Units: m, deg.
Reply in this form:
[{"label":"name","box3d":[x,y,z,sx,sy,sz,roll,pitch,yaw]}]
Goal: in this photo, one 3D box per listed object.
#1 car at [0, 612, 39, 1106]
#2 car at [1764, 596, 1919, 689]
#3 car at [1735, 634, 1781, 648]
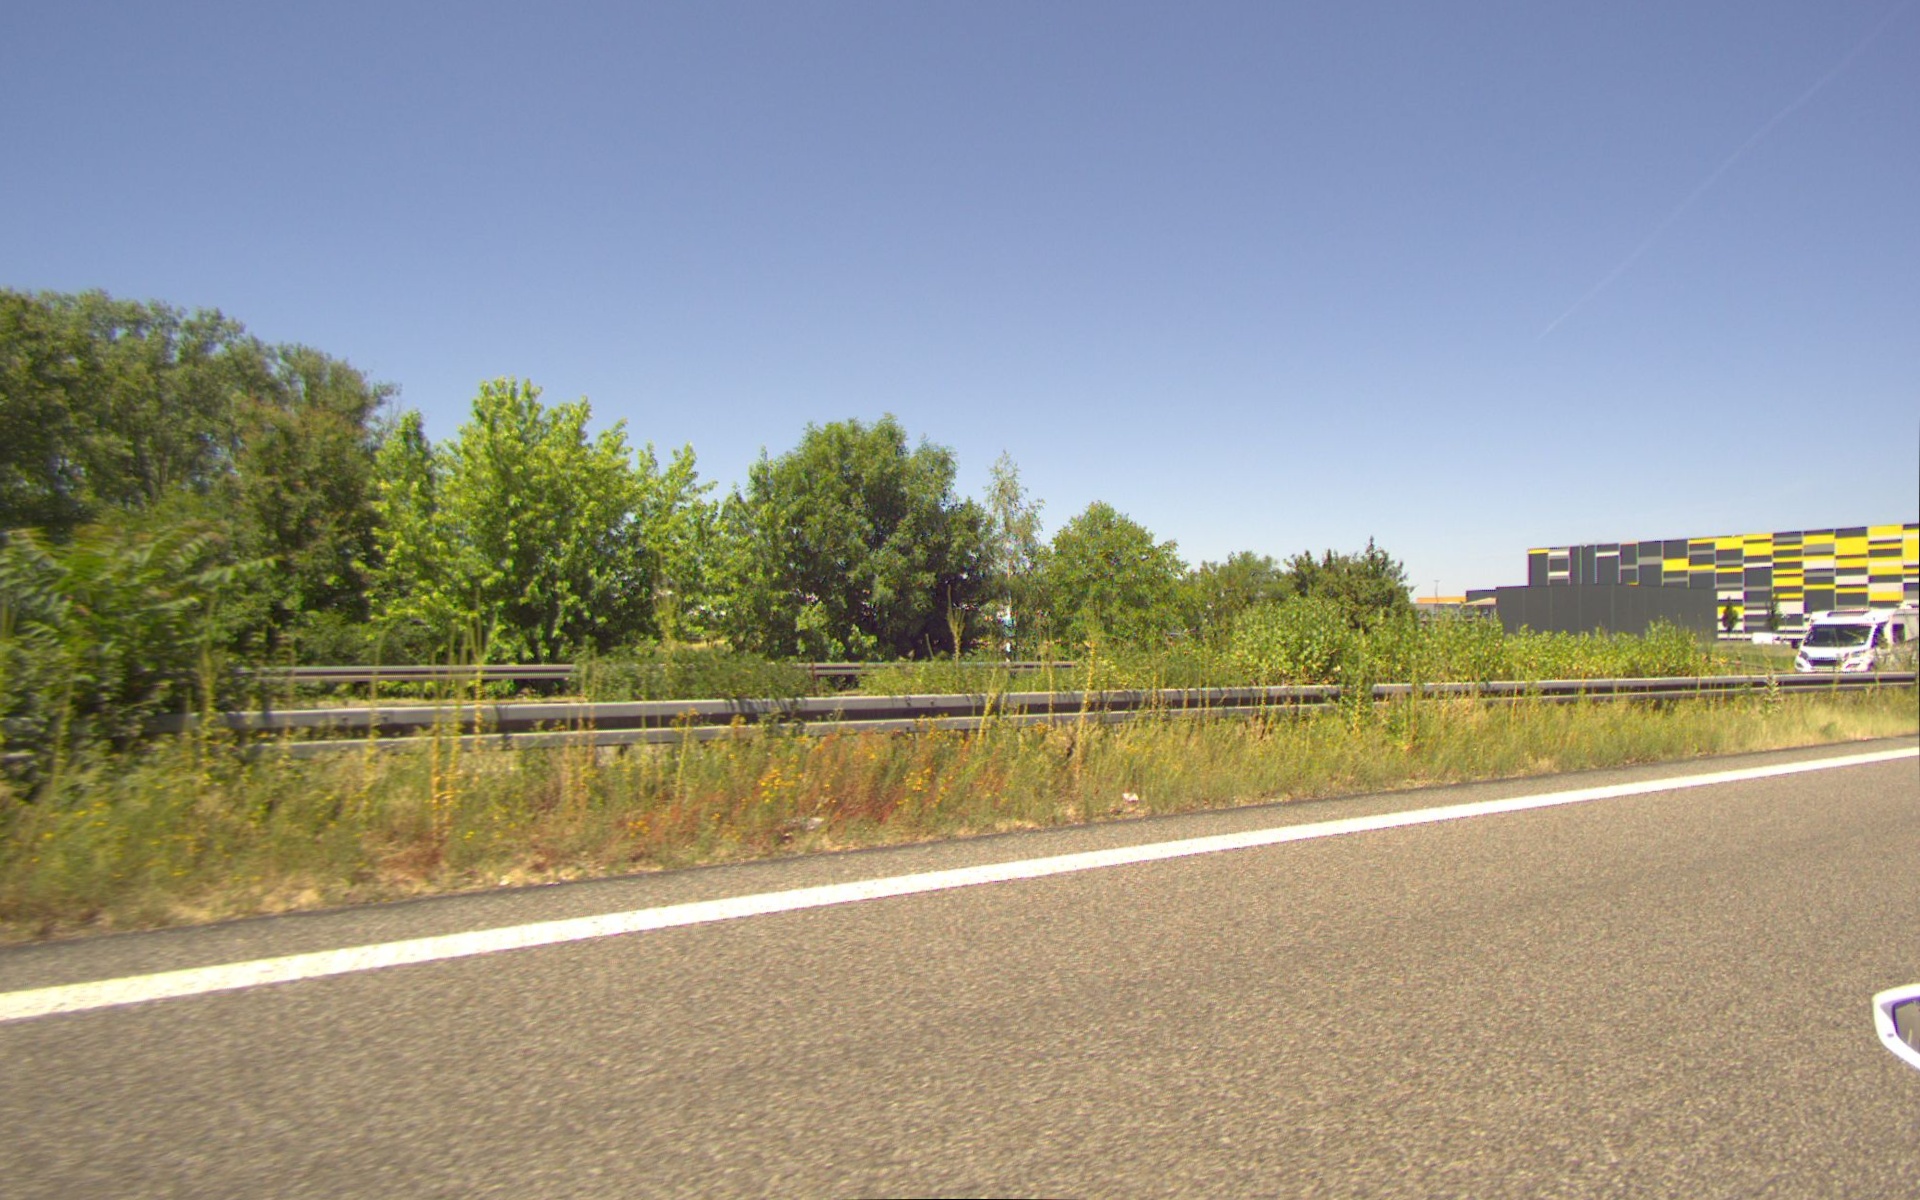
[{"label":"car","box3d":[-4.155,0.693,1.319,4.006,1.430,1.783,2,-1,-31]},{"label":"car","box3d":[32.053,1.498,35.739,7.985,3.021,2.536,2,-2,-29]},{"label":"car","box3d":[131.304,6.720,165.314,5.506,2.206,2.106,-1,-2,28]}]
